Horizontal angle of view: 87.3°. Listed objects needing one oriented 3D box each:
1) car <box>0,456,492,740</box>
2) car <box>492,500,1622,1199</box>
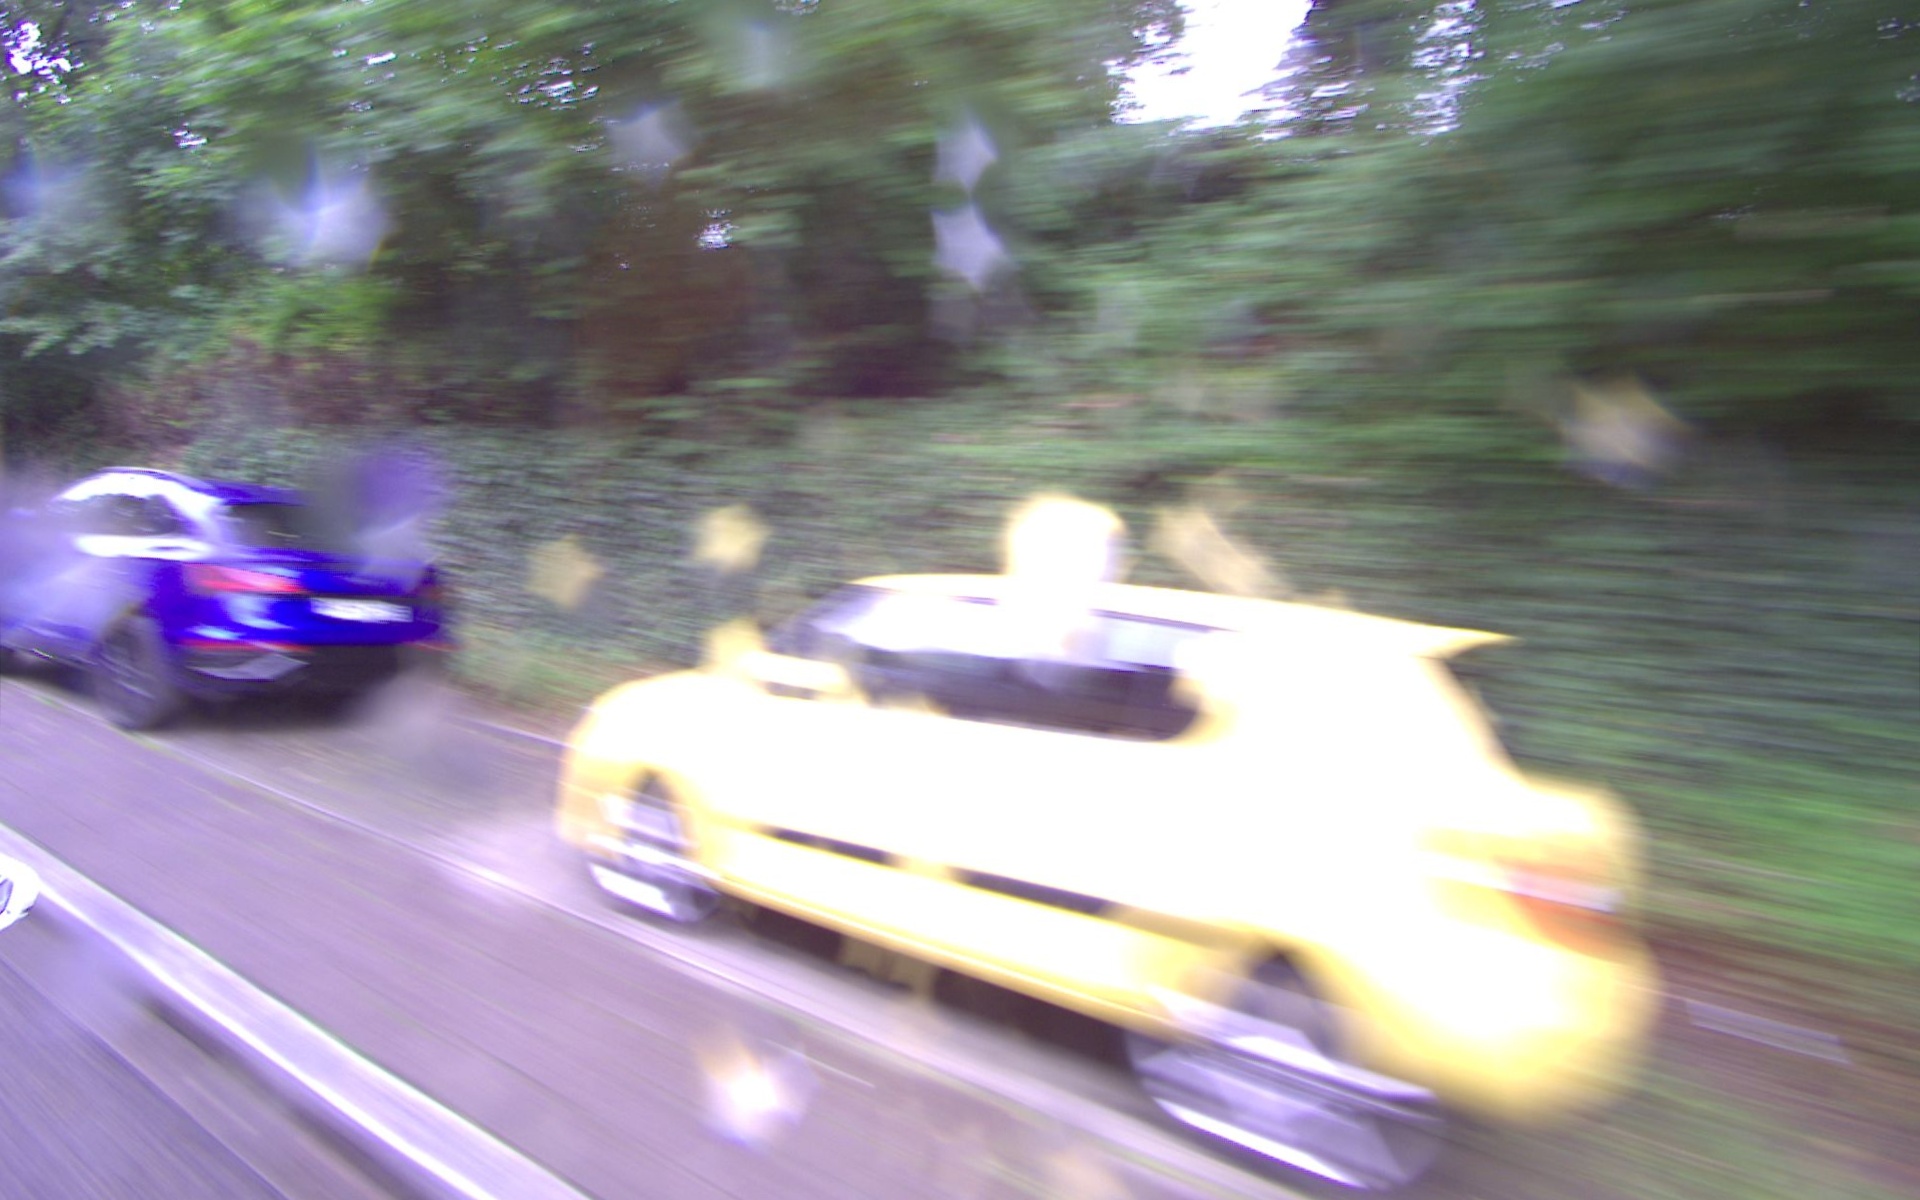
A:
[{"bbox_3d":[-5.764,-0.148,7.581,4.342,1.550,1.812,6,2,30],"label":"car"},{"bbox_3d":[0.147,0.602,3.974,3.935,1.548,1.635,7,-1,33],"label":"car"}]
